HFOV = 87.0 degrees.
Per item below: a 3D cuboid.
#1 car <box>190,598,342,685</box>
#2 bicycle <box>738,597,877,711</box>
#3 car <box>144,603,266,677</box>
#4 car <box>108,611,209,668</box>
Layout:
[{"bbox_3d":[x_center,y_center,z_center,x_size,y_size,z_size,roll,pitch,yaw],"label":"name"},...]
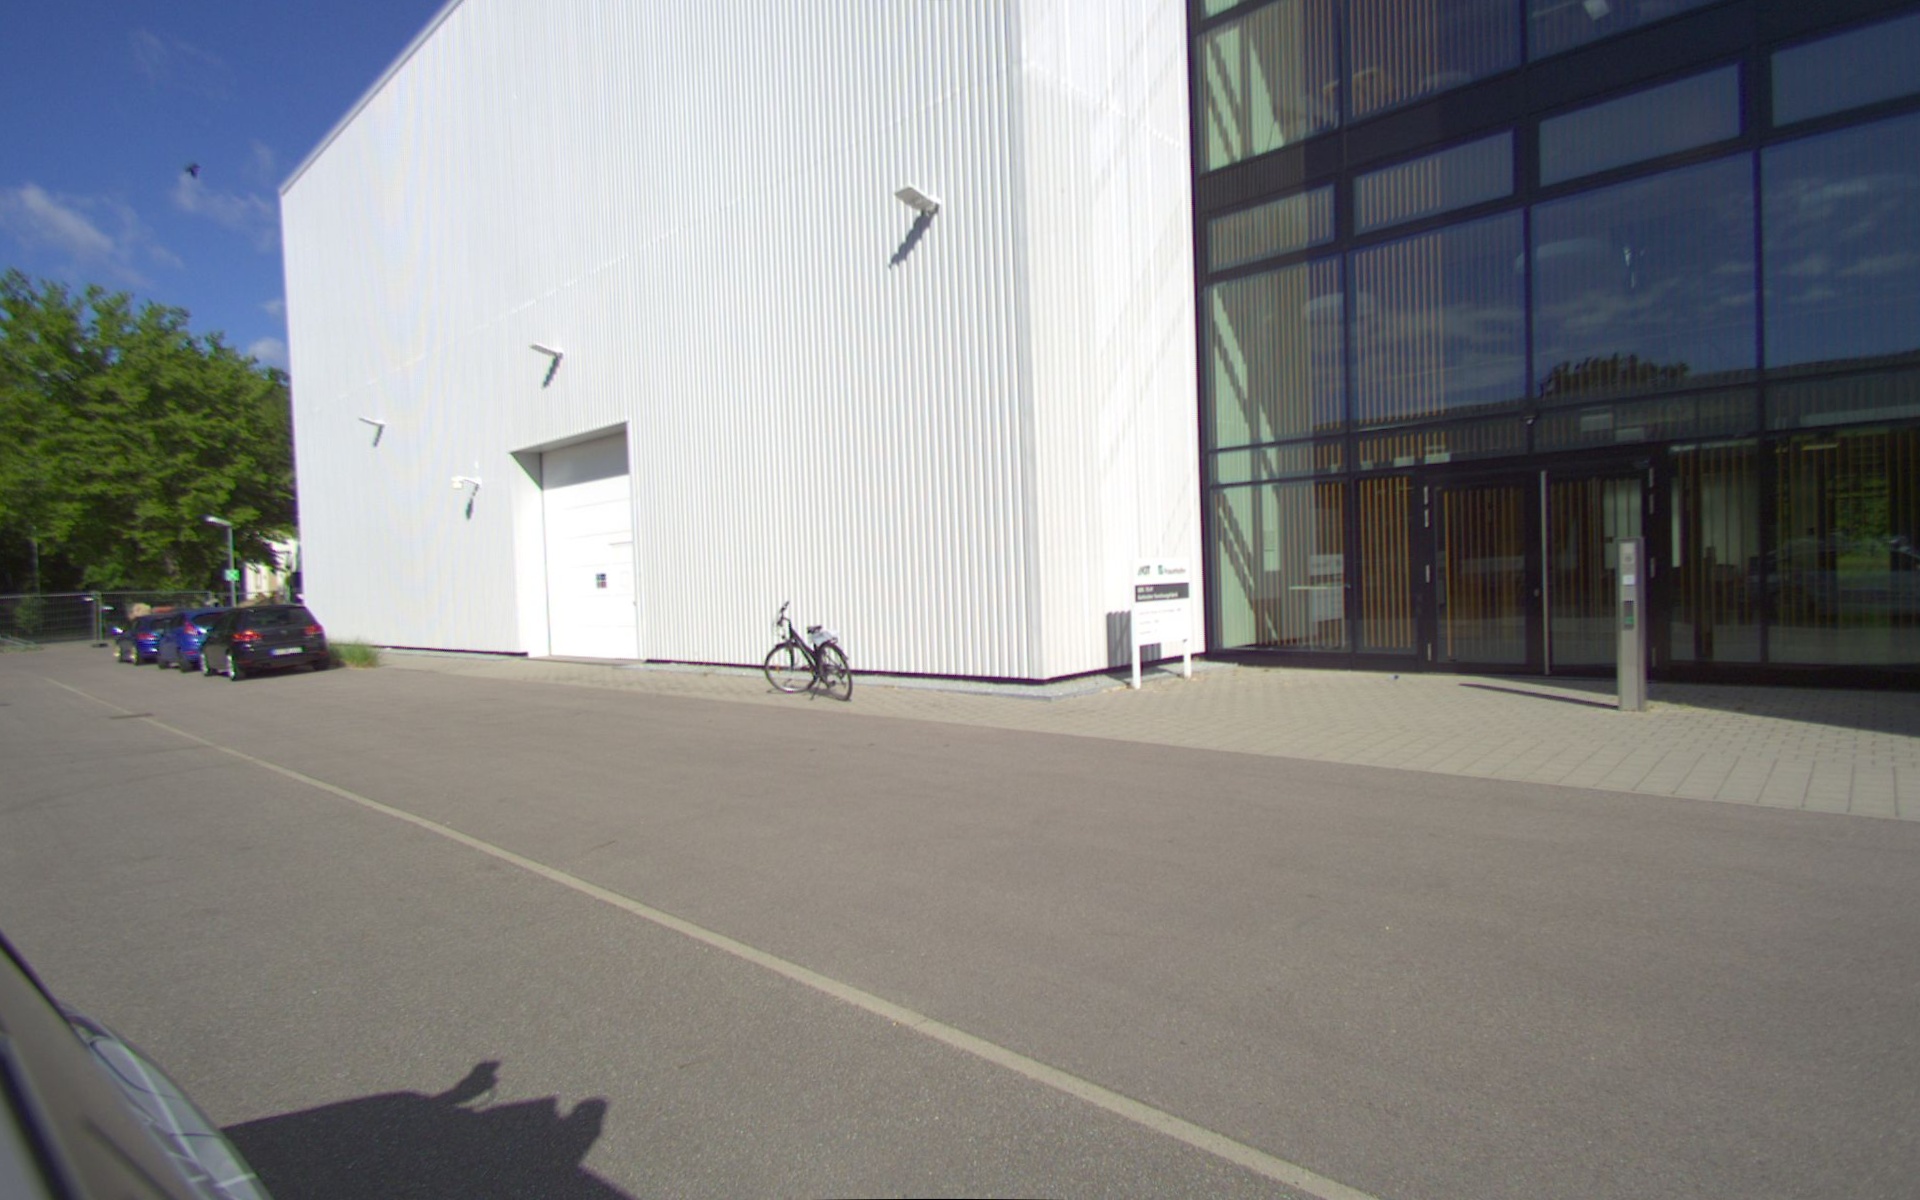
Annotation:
[{"bbox_3d":[-14.892,0.829,21.634,4.002,1.533,1.870,-1,4,45],"label":"car"},{"bbox_3d":[-1.874,0.593,12.170,0.895,1.151,1.905,-6,4,-32],"label":"bicycle"},{"bbox_3d":[-18.753,0.945,25.084,4.002,1.533,1.766,-1,4,45],"label":"car"},{"bbox_3d":[-22.831,1.083,28.774,4.002,1.451,1.765,-1,0,45],"label":"car"}]
